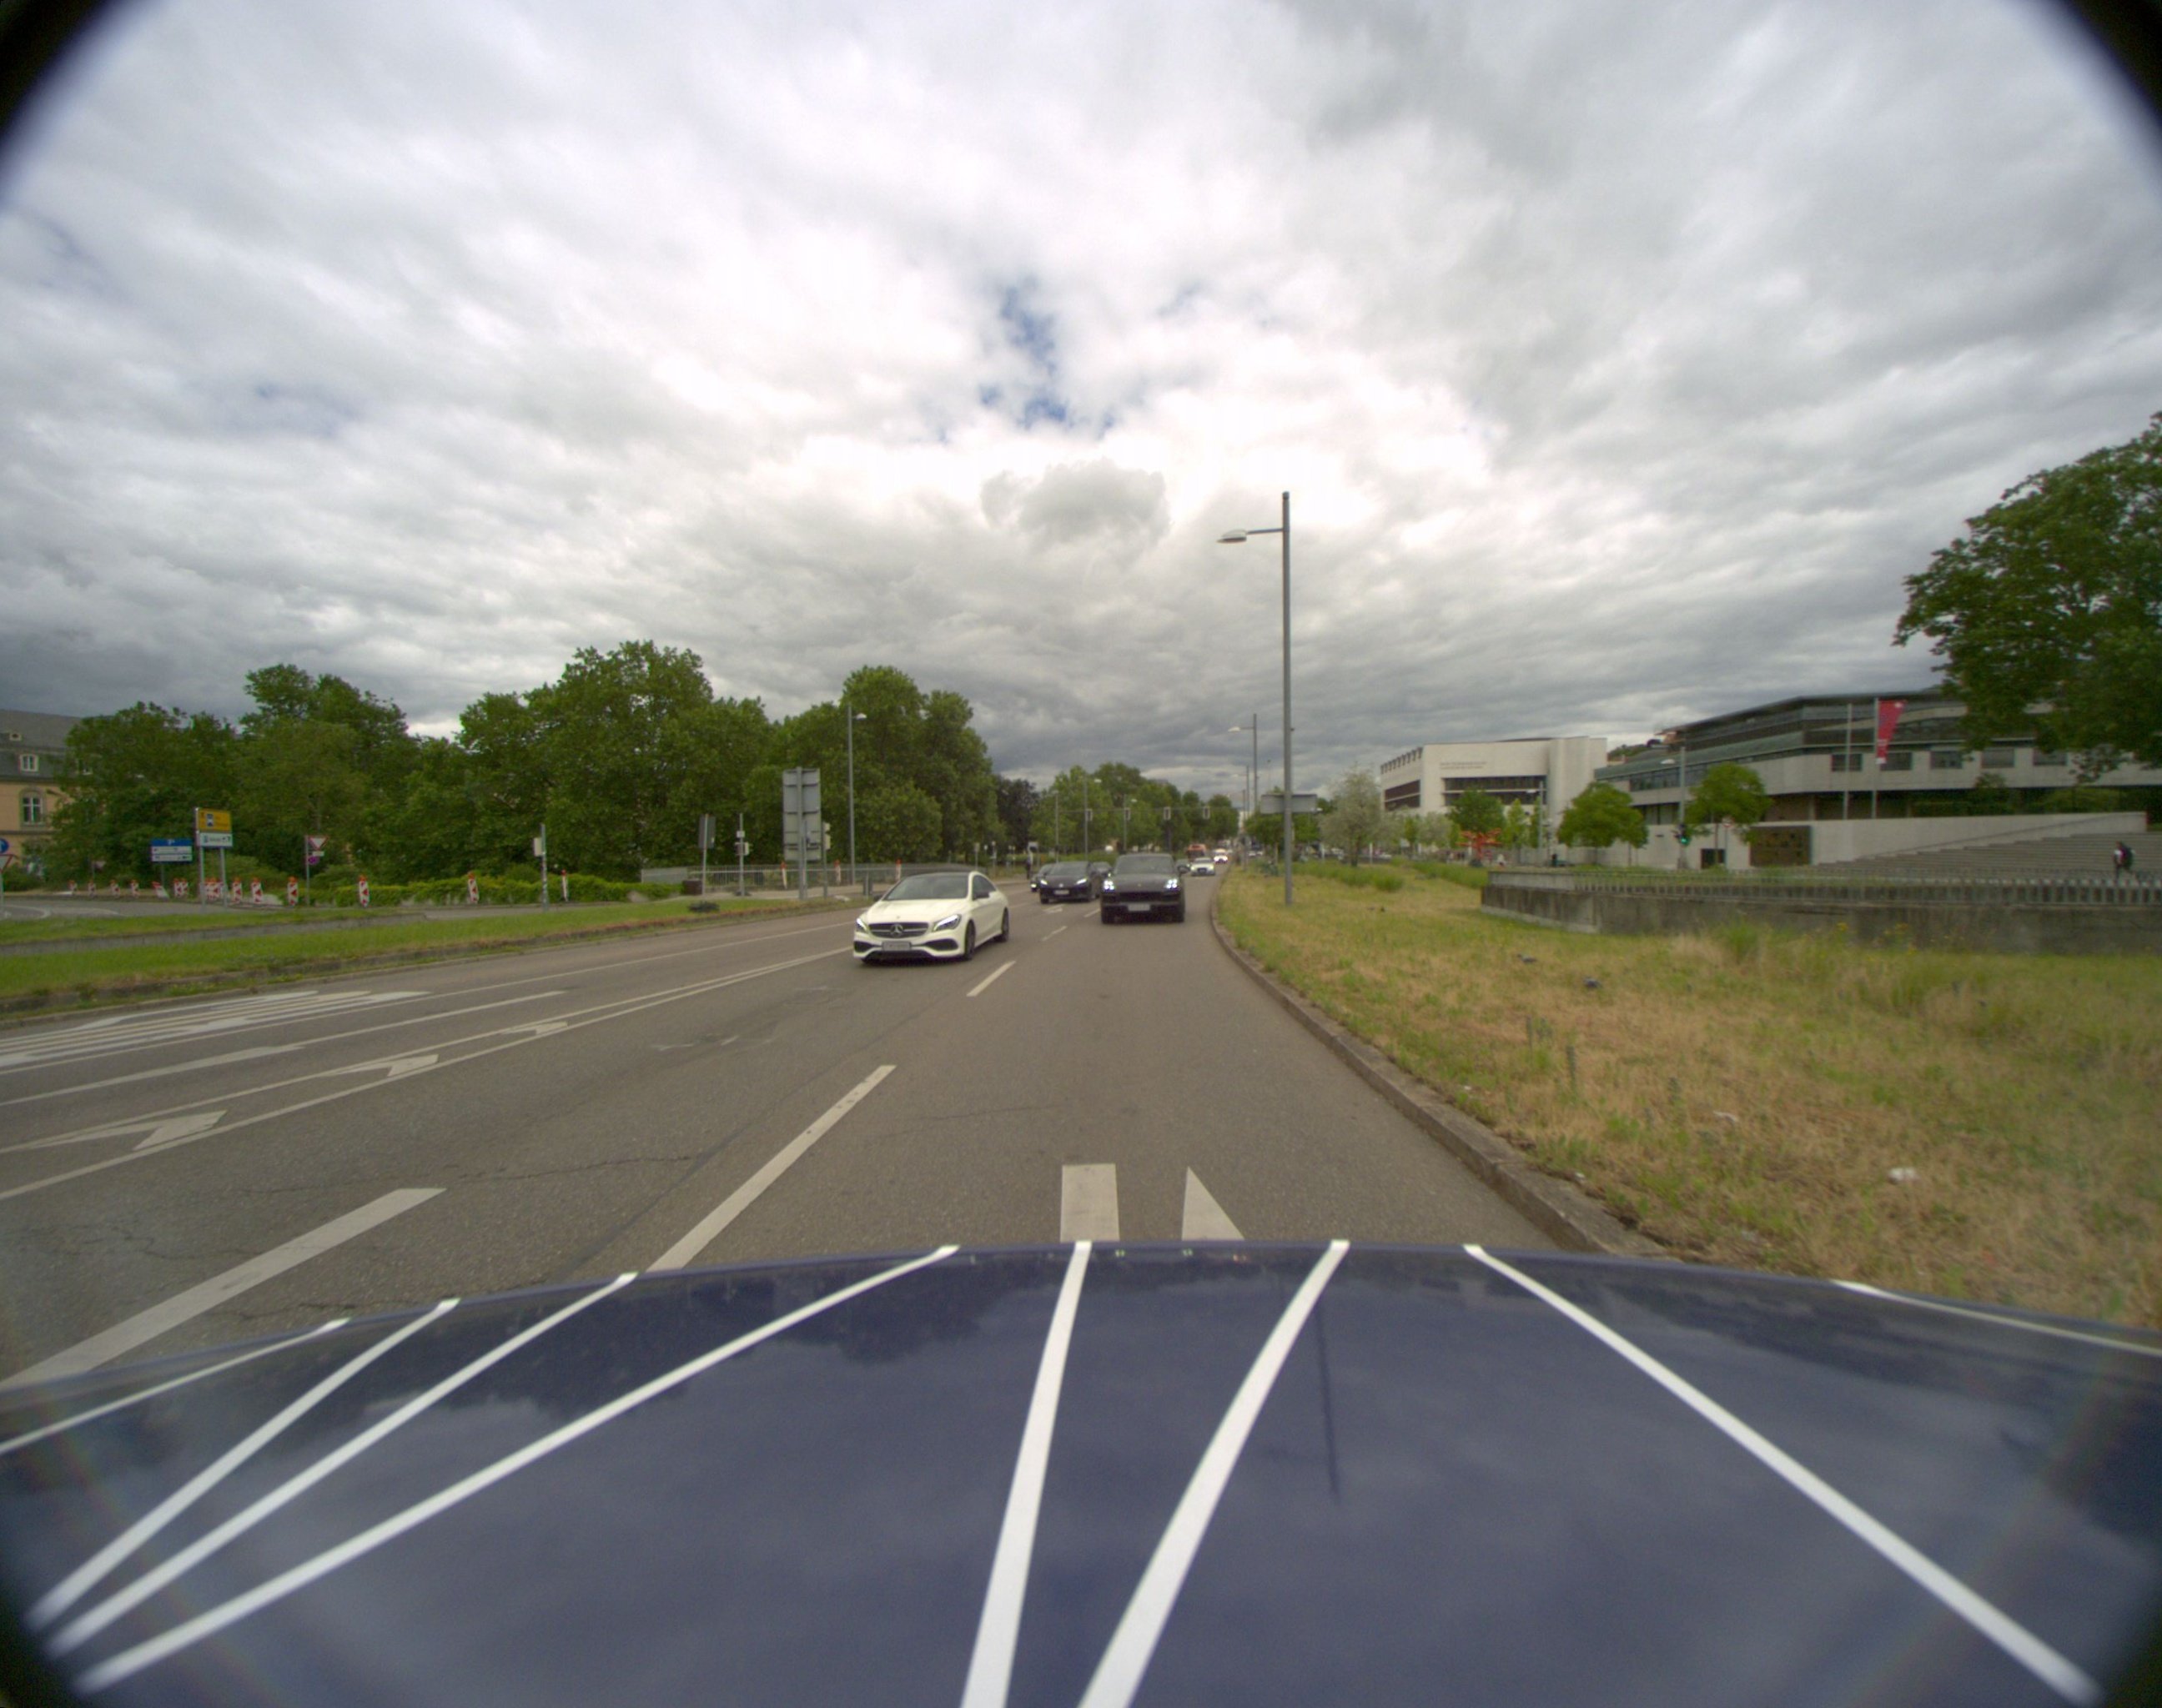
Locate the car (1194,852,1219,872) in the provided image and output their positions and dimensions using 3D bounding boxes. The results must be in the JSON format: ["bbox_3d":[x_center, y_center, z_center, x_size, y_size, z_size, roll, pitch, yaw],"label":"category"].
[{"bbox_3d":[10.319,0.641,62.781,1.760,1.538,4.002,-2,0,6],"label":"car"}]

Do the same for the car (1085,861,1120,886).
[{"bbox_3d":[1.561,1.332,52.771,1.721,1.528,4.005,-2,0,12],"label":"car"}]

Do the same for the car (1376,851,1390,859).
[{"bbox_3d":[57.526,0.230,144.738,1.721,1.565,4.617,-1,-1,13],"label":"car"}]

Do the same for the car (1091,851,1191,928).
[{"bbox_3d":[1.679,0.804,19.449,1.936,1.668,4.683,-2,0,12],"label":"car"}]

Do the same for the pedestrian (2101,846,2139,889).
[{"bbox_3d":[40.294,0.516,29.473,0.525,1.639,0.651,-2,0,10],"label":"pedestrian"}]

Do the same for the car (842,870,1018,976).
[{"bbox_3d":[-2.415,1.067,13.401,1.722,1.415,4.508,-2,0,6],"label":"car"}]

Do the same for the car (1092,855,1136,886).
[{"bbox_3d":[1.811,0.862,40.741,1.571,1.528,4.005,-2,0,13],"label":"car"}]

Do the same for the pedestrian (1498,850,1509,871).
[{"bbox_3d":[34.370,0.509,61.838,0.541,1.723,0.664,-2,0,12],"label":"pedestrian"}]

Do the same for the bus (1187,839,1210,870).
[{"bbox_3d":[17.798,0.019,114.267,3.041,4.327,8.756,-1,0,11],"label":"bus"}]

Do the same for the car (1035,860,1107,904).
[{"bbox_3d":[-0.289,1.002,28.619,1.828,1.515,4.123,-2,0,12],"label":"car"}]

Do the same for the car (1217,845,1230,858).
[{"bbox_3d":[26.088,-0.424,139.090,1.996,2.215,4.004,-2,0,14],"label":"car"}]

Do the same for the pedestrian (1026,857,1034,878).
[{"bbox_3d":[-4.401,1.155,65.705,0.479,1.753,0.621,-2,1,9],"label":"pedestrian"}]
